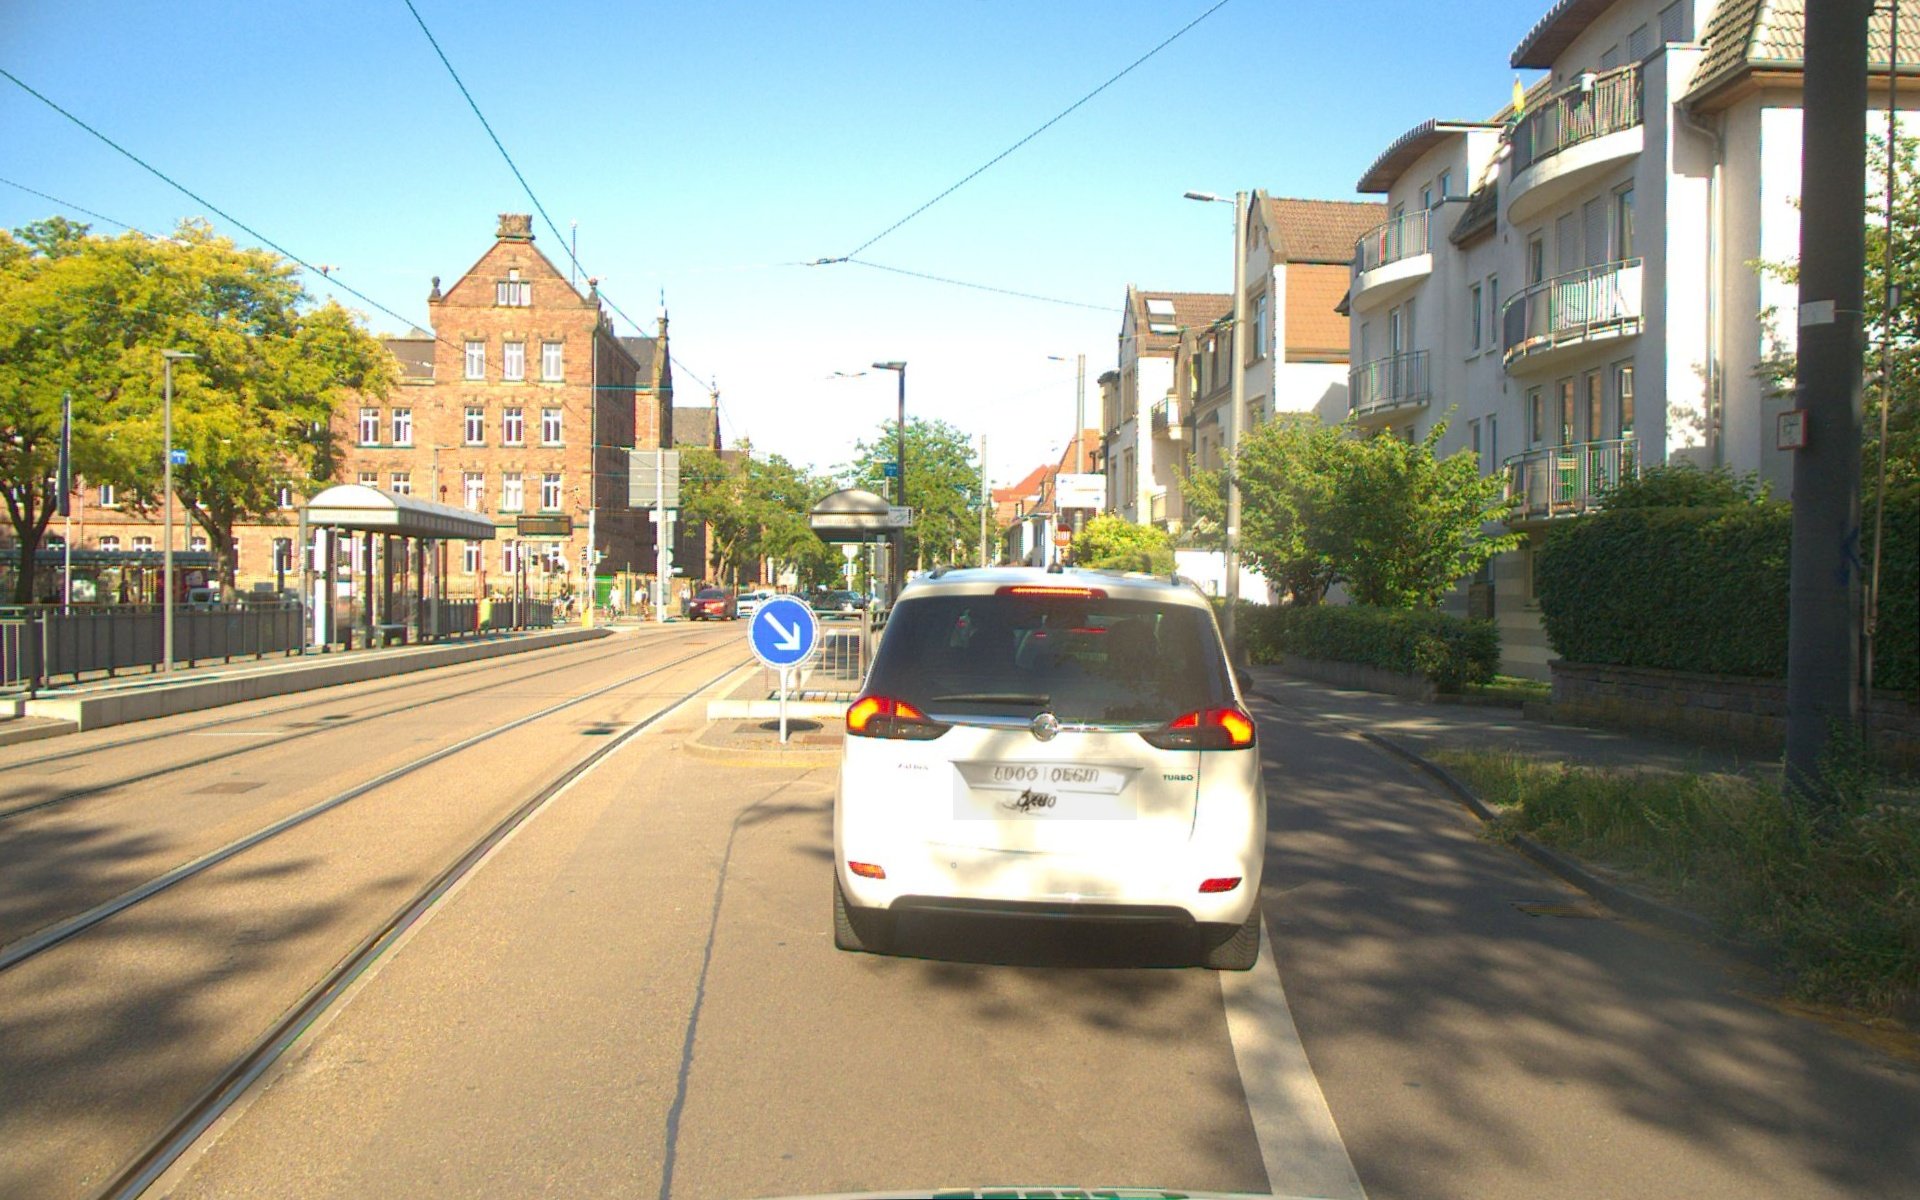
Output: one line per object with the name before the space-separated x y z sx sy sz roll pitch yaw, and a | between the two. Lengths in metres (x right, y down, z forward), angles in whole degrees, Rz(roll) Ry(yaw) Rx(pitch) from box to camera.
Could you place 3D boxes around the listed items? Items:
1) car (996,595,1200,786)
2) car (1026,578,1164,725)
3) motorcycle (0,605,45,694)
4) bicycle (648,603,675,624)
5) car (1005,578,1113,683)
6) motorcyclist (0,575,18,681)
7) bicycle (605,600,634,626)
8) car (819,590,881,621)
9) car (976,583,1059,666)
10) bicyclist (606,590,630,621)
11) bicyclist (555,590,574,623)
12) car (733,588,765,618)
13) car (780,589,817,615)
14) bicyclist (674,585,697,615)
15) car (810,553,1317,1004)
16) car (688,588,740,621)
car | 1.227 0.696 14.784 1.536 1.426 3.786 2 0 5
car | 1.714 0.585 21.044 1.536 1.643 3.786 2 0 5
motorcycle | -13.209 0.660 21.996 0.893 1.173 2.426 0 0 -5
bicycle | -16.275 0.727 90.197 0.655 1.091 2.016 1 1 15
car | 1.686 0.486 29.180 1.563 1.663 3.900 2 0 -1
motorcyclist | -13.206 0.372 21.986 0.871 1.407 0.907 0 0 -5
bicycle | -16.916 0.645 82.204 0.798 1.220 1.954 -1 -3 9
car | -5.968 0.288 89.173 1.651 1.658 3.954 0 0 -33
car | 1.222 0.502 36.331 1.563 1.663 3.900 2 0 -1
bicyclist | -16.985 0.285 82.097 0.740 1.496 1.191 0 -2 11
bicyclist | -17.953 0.292 75.107 0.640 1.485 1.151 0 0 -6
car | -13.298 0.192 104.416 1.664 1.841 3.998 0 0 -2
car | -10.309 0.141 105.568 1.953 1.624 4.000 0 0 0
bicyclist | -14.933 -0.001 89.981 0.744 1.563 1.349 1 0 15
car | 0.535 0.639 8.085 1.838 1.613 4.002 1 0 5
car | -12.542 0.209 84.497 1.780 1.635 4.361 0 0 3
